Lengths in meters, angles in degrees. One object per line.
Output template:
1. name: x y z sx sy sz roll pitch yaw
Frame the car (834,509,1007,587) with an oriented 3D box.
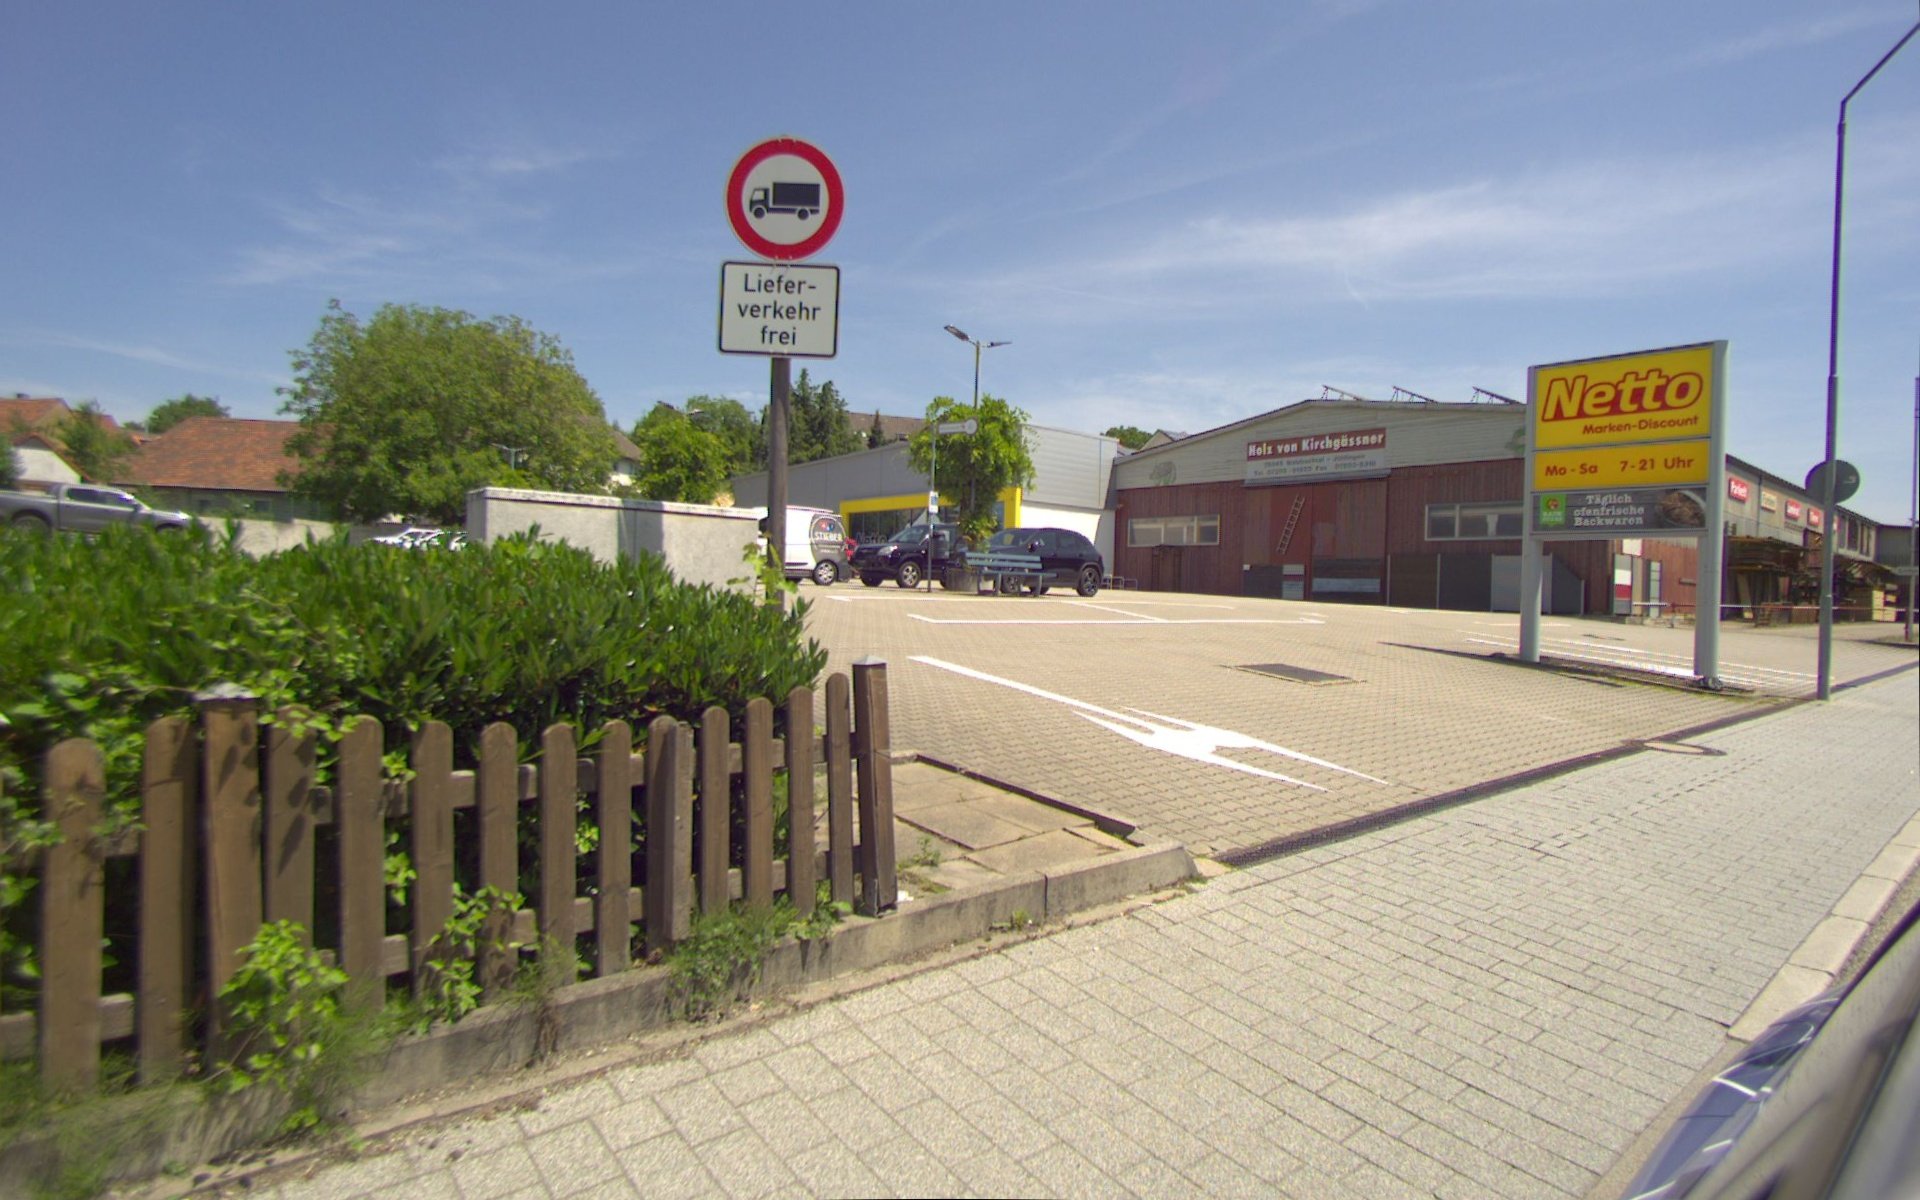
1. car: -0.959 -1.306 25.840 4.056 1.768 1.913 0 4 -41

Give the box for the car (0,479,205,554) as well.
1. car: -26.574 -2.543 31.073 5.335 1.972 2.142 0 4 -40

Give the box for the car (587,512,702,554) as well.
1. car: -12.433 -2.625 39.994 4.017 1.430 1.644 0 4 -40

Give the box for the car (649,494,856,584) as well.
1. car: -4.552 -1.330 22.481 4.056 1.768 1.913 0 4 -41

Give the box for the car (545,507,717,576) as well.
1. car: -8.327 -1.463 25.772 3.814 1.527 1.622 0 4 -42

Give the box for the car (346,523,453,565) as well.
1. car: -27.563 -2.731 49.834 4.309 1.806 1.833 0 4 -42

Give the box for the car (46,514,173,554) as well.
1. car: -35.720 -2.757 42.607 4.017 1.431 1.643 0 0 -40

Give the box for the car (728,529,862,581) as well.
1. car: -5.136 -1.406 31.732 3.813 1.430 1.644 0 4 -40

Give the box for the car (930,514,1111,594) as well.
1. car: 1.487 -1.050 23.804 4.139 1.615 1.910 2 2 -44

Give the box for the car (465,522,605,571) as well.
1. car: -14.284 -1.789 34.089 4.017 1.430 1.644 0 4 -40

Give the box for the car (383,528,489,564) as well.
1. car: -24.028 -2.456 46.467 4.017 1.430 1.644 0 4 -40

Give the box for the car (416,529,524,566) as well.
1. car: -21.800 -2.316 45.087 4.017 1.430 1.644 0 4 -40

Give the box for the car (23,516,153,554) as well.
1. car: -34.539 -2.558 40.204 3.849 1.272 1.606 0 4 -40
